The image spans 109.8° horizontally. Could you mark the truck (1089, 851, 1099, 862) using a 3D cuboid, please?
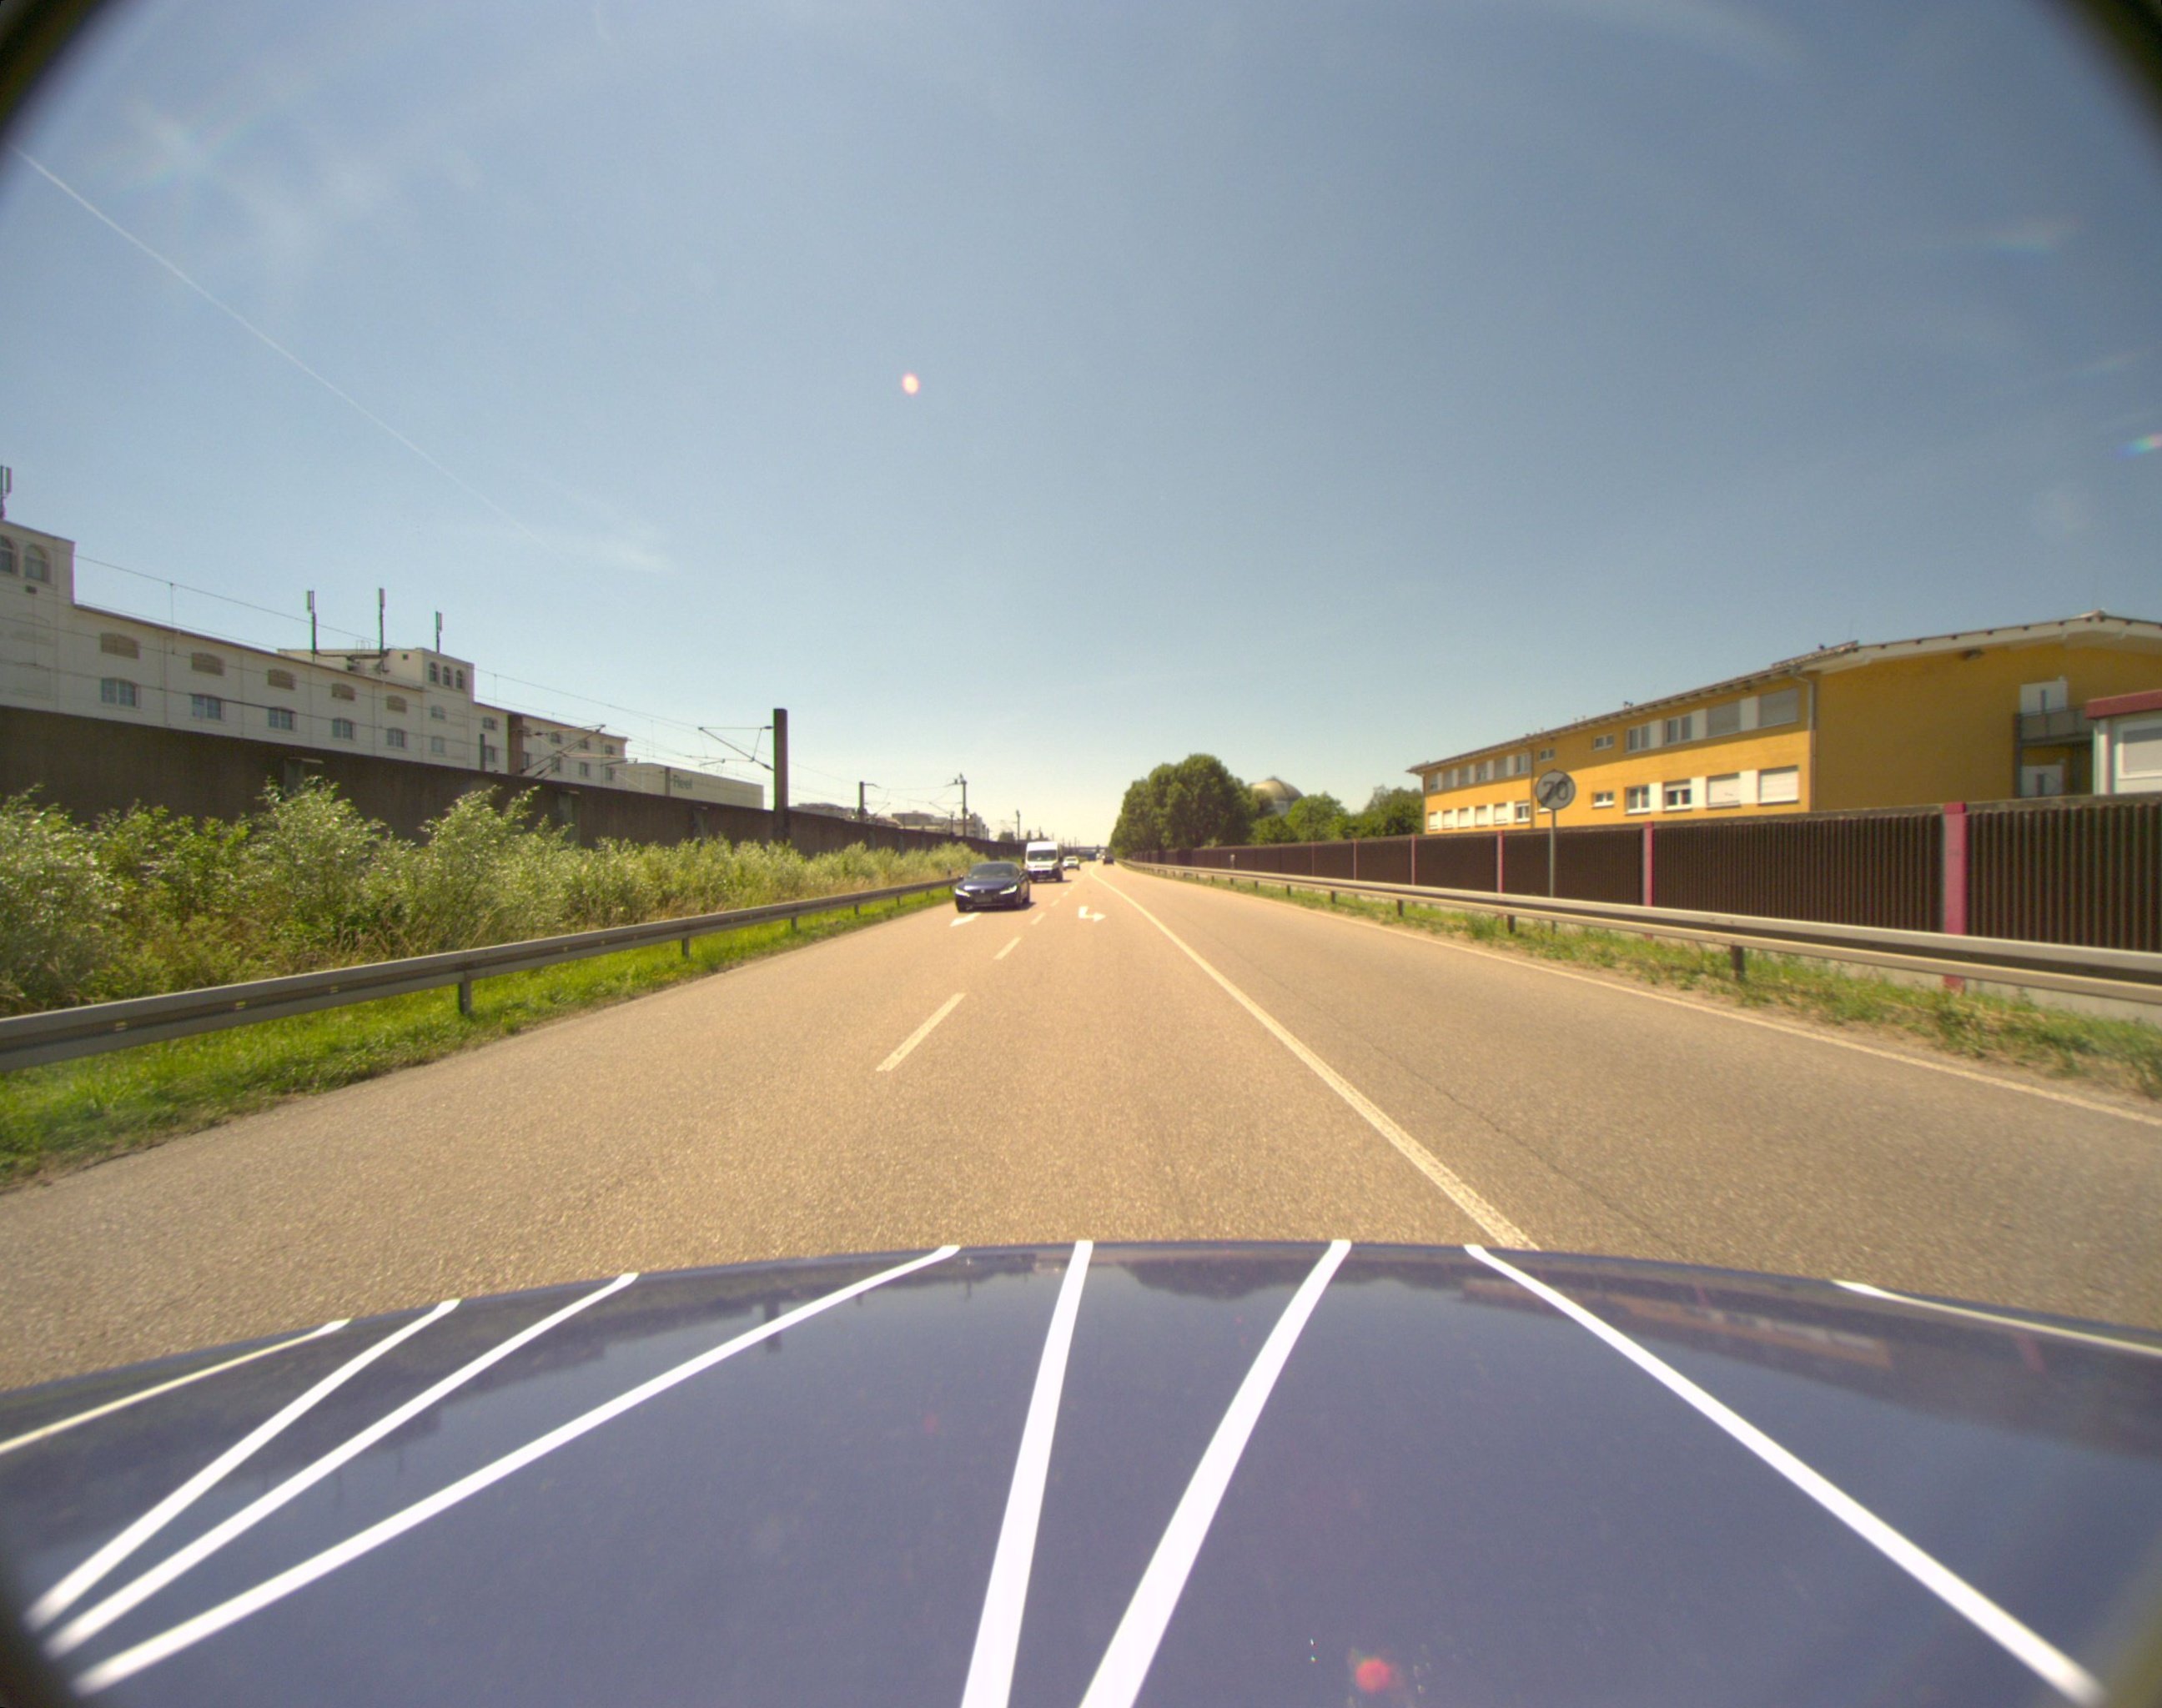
[{"bbox_3d":[3.711,0.660,216.345,2.616,3.024,10.656,-1,0,2],"label":"truck"}]

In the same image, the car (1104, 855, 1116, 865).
[{"bbox_3d":[4.626,0.942,123.098,1.849,1.382,4.190,-2,0,1],"label":"car"}]

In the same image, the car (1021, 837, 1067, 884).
[{"bbox_3d":[-2.183,0.375,46.761,2.193,2.589,6.751,-2,0,2],"label":"car"}]

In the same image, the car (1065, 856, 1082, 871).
[{"bbox_3d":[-0.883,1.087,86.208,1.822,1.554,4.278,-2,0,-1],"label":"car"}]

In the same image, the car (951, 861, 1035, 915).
[{"bbox_3d":[-2.598,0.974,23.567,1.861,1.371,4.504,-2,0,2],"label":"car"}]
